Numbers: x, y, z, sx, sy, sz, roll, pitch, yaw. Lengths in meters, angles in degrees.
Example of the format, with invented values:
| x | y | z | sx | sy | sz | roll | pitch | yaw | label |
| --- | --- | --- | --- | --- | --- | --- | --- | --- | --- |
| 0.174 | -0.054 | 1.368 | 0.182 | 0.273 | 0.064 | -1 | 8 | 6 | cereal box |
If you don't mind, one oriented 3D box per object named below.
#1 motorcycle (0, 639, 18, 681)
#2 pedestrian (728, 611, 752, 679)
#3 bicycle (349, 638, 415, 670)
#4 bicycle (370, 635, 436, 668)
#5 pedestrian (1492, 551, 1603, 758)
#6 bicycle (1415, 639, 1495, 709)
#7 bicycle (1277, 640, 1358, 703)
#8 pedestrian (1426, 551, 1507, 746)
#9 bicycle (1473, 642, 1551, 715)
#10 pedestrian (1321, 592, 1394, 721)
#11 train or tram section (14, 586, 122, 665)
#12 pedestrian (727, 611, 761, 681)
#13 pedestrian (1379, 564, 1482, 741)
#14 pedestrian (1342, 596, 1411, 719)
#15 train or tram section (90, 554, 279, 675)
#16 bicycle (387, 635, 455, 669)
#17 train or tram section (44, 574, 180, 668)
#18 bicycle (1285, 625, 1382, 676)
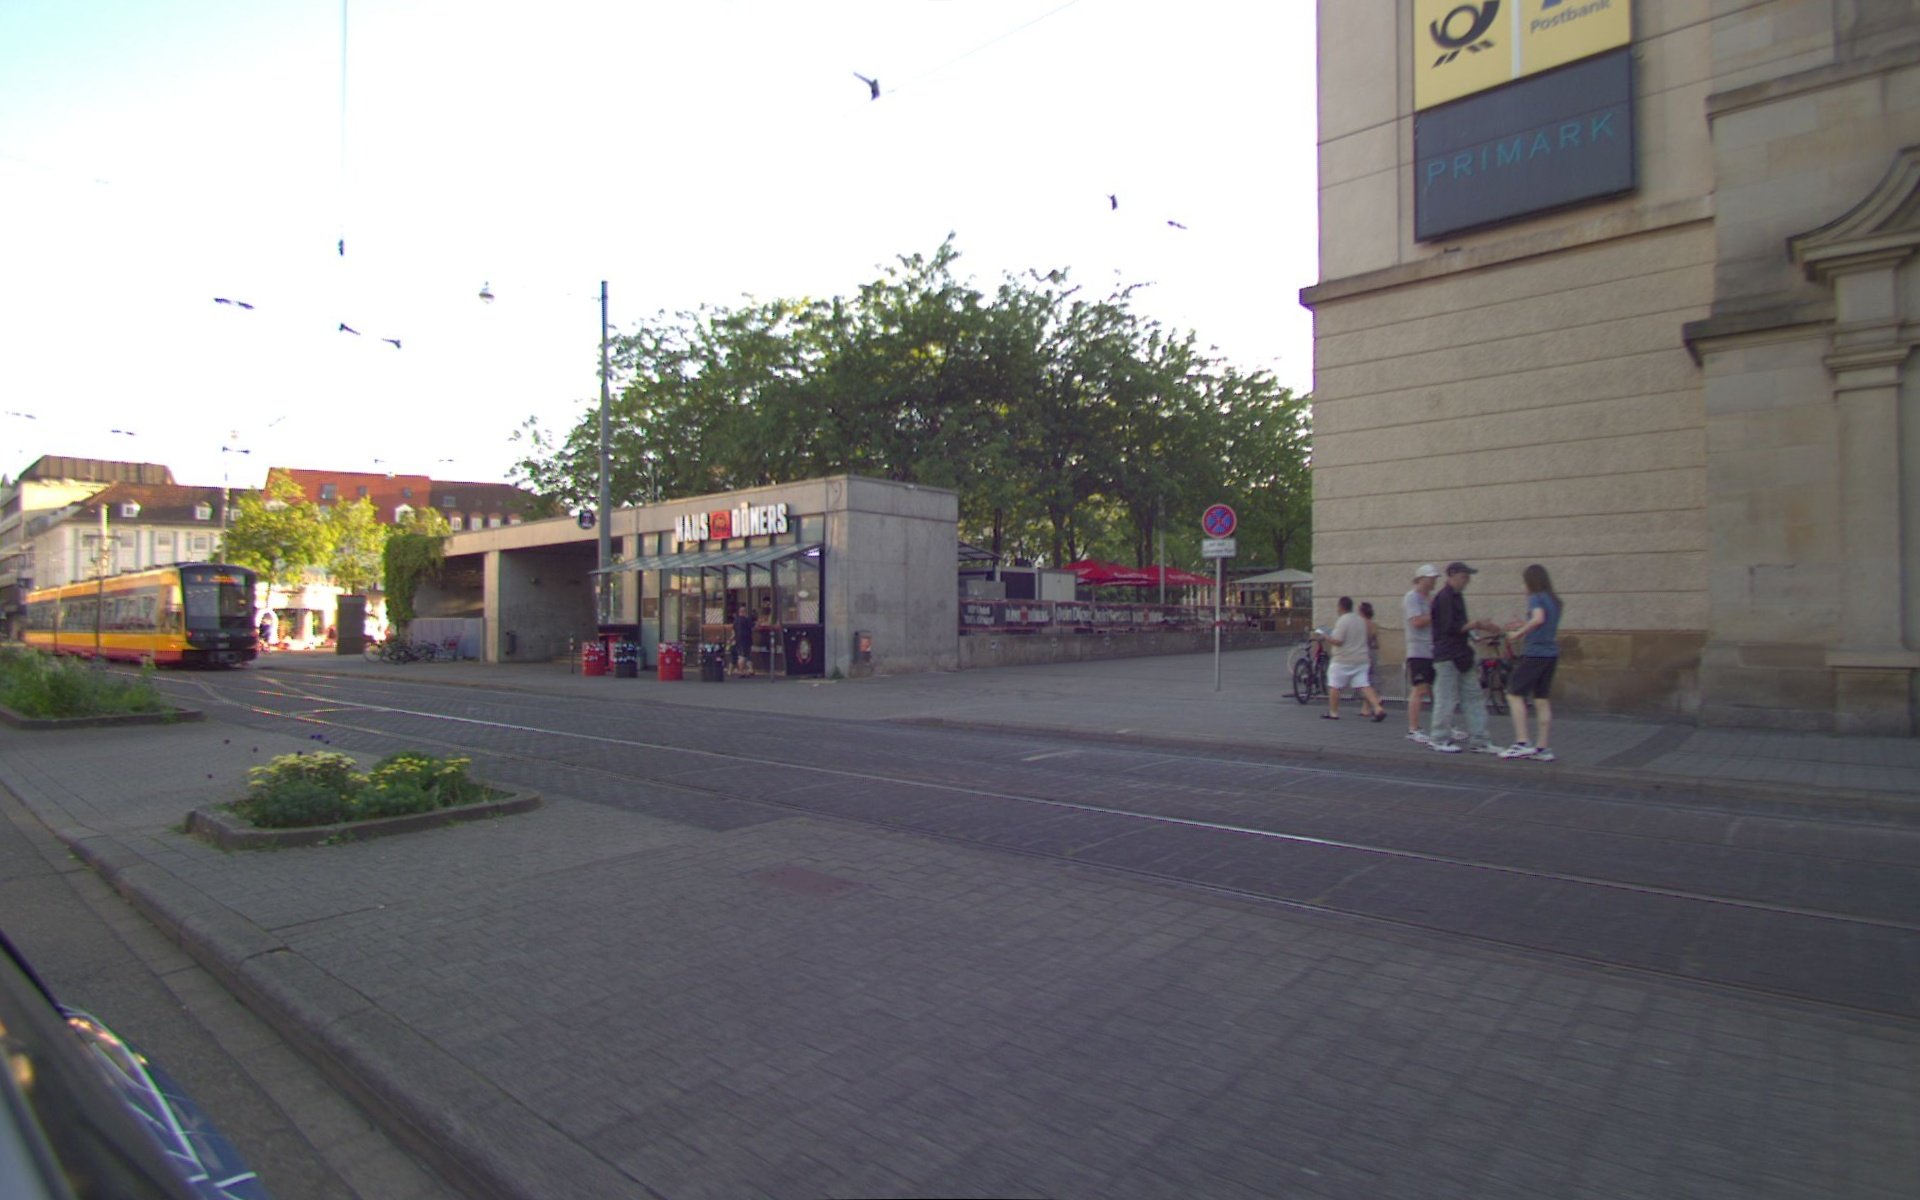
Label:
| x | y | z | sx | sy | sz | roll | pitch | yaw | label |
| --- | --- | --- | --- | --- | --- | --- | --- | --- | --- |
| -29.572 | 1.829 | 30.360 | 0.799 | 1.247 | 1.770 | -1 | 0 | 17 | motorcycle |
| -5.501 | 1.116 | 25.309 | 0.400 | 1.665 | 0.389 | -1 | -1 | 35 | pedestrian |
| -22.384 | 2.087 | 39.221 | 0.692 | 1.168 | 2.103 | -2 | -2 | 42 | bicycle |
| -20.997 | 1.923 | 38.178 | 0.692 | 1.168 | 2.103 | -2 | -2 | 42 | bicycle |
| 5.156 | 0.475 | 8.896 | 0.669 | 1.750 | 0.484 | 1 | -3 | -21 | pedestrian |
| 7.162 | 1.035 | 14.594 | 0.634 | 0.875 | 1.817 | -1 | 0 | 39 | bicycle |
| 5.683 | 1.104 | 16.023 | 0.634 | 0.875 | 1.817 | -1 | 0 | 39 | bicycle |
| 4.768 | 0.452 | 9.527 | 0.593 | 1.750 | 0.643 | -2 | -3 | 32 | pedestrian |
| 7.749 | 1.063 | 14.165 | 0.634 | 0.875 | 1.817 | -1 | 0 | 39 | bicycle |
| 5.047 | 0.703 | 12.844 | 0.679 | 1.573 | 0.653 | -2 | -2 | 38 | pedestrian |
| -46.437 | 1.371 | 52.528 | 10.779 | 3.714 | 2.865 | -2 | -2 | 41 | train or tram section |
| -5.247 | 1.110 | 24.555 | 0.551 | 1.665 | 0.556 | -1 | 0 | 35 | pedestrian |
| 4.869 | 0.538 | 10.497 | 0.669 | 1.750 | 0.678 | 2 | -3 | -30 | pedestrian |
| 5.539 | 0.745 | 13.459 | 0.679 | 1.573 | 0.653 | -2 | -2 | 38 | pedestrian |
| -28.393 | 0.645 | 36.664 | 13.474 | 3.714 | 2.865 | -2 | -2 | 41 | train or tram section |
| -19.750 | 1.886 | 37.146 | 0.692 | 1.168 | 2.103 | -2 | -2 | 42 | bicycle |
| -37.929 | 0.991 | 45.029 | 11.977 | 3.714 | 2.865 | -2 | -2 | 41 | train or tram section |
| 7.882 | 1.055 | 21.408 | 1.839 | 1.020 | 0.478 | -2 | -1 | 40 | bicycle |
